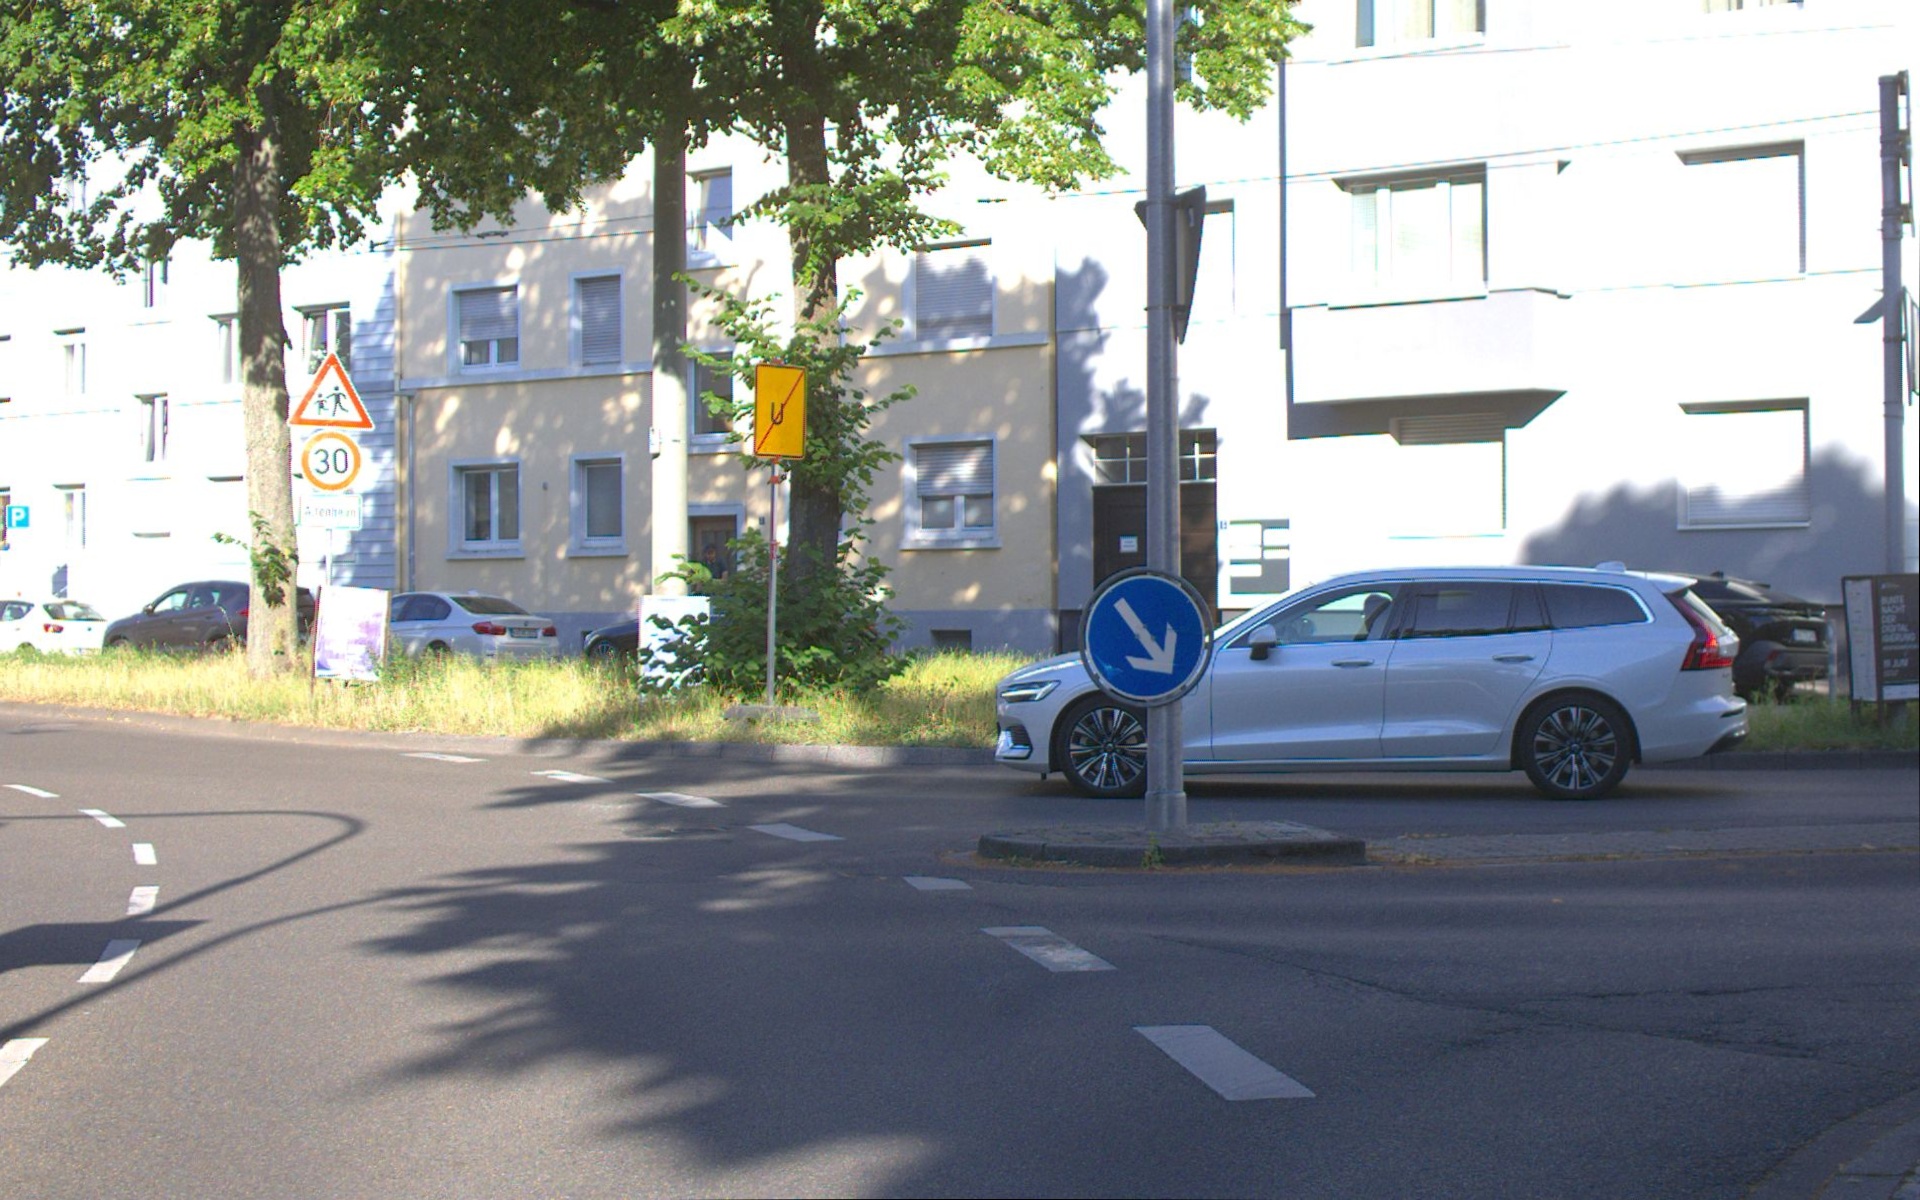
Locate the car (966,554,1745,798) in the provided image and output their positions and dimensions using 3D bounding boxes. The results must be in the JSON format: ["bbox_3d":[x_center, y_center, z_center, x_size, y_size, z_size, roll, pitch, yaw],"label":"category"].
[{"bbox_3d":[2.551,0.438,21.967,4.759,1.458,1.854,0,1,12],"label":"car"}]

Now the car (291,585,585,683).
[{"bbox_3d":[-7.990,0.493,52.439,4.442,1.382,1.995,1,1,40],"label":"car"}]

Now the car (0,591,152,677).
[{"bbox_3d":[-16.267,0.559,59.615,4.441,1.382,1.996,1,1,37],"label":"car"}]

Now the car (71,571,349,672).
[{"bbox_3d":[-12.285,0.360,56.182,4.637,1.567,1.995,-1,0,40],"label":"car"}]

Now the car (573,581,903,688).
[{"bbox_3d":[-3.121,0.449,47.866,4.442,1.382,1.995,1,1,40],"label":"car"}]

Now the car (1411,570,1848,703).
[{"bbox_3d":[7.520,0.368,38.844,4.442,1.382,1.995,1,1,40],"label":"car"}]

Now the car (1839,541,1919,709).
[{"bbox_3d":[11.490,0.254,35.560,4.205,1.743,1.995,1,1,40],"label":"car"}]

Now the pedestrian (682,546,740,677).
[{"bbox_3d":[-3.845,0.172,53.016,0.649,2.007,0.612,0,0,40],"label":"pedestrian"}]
